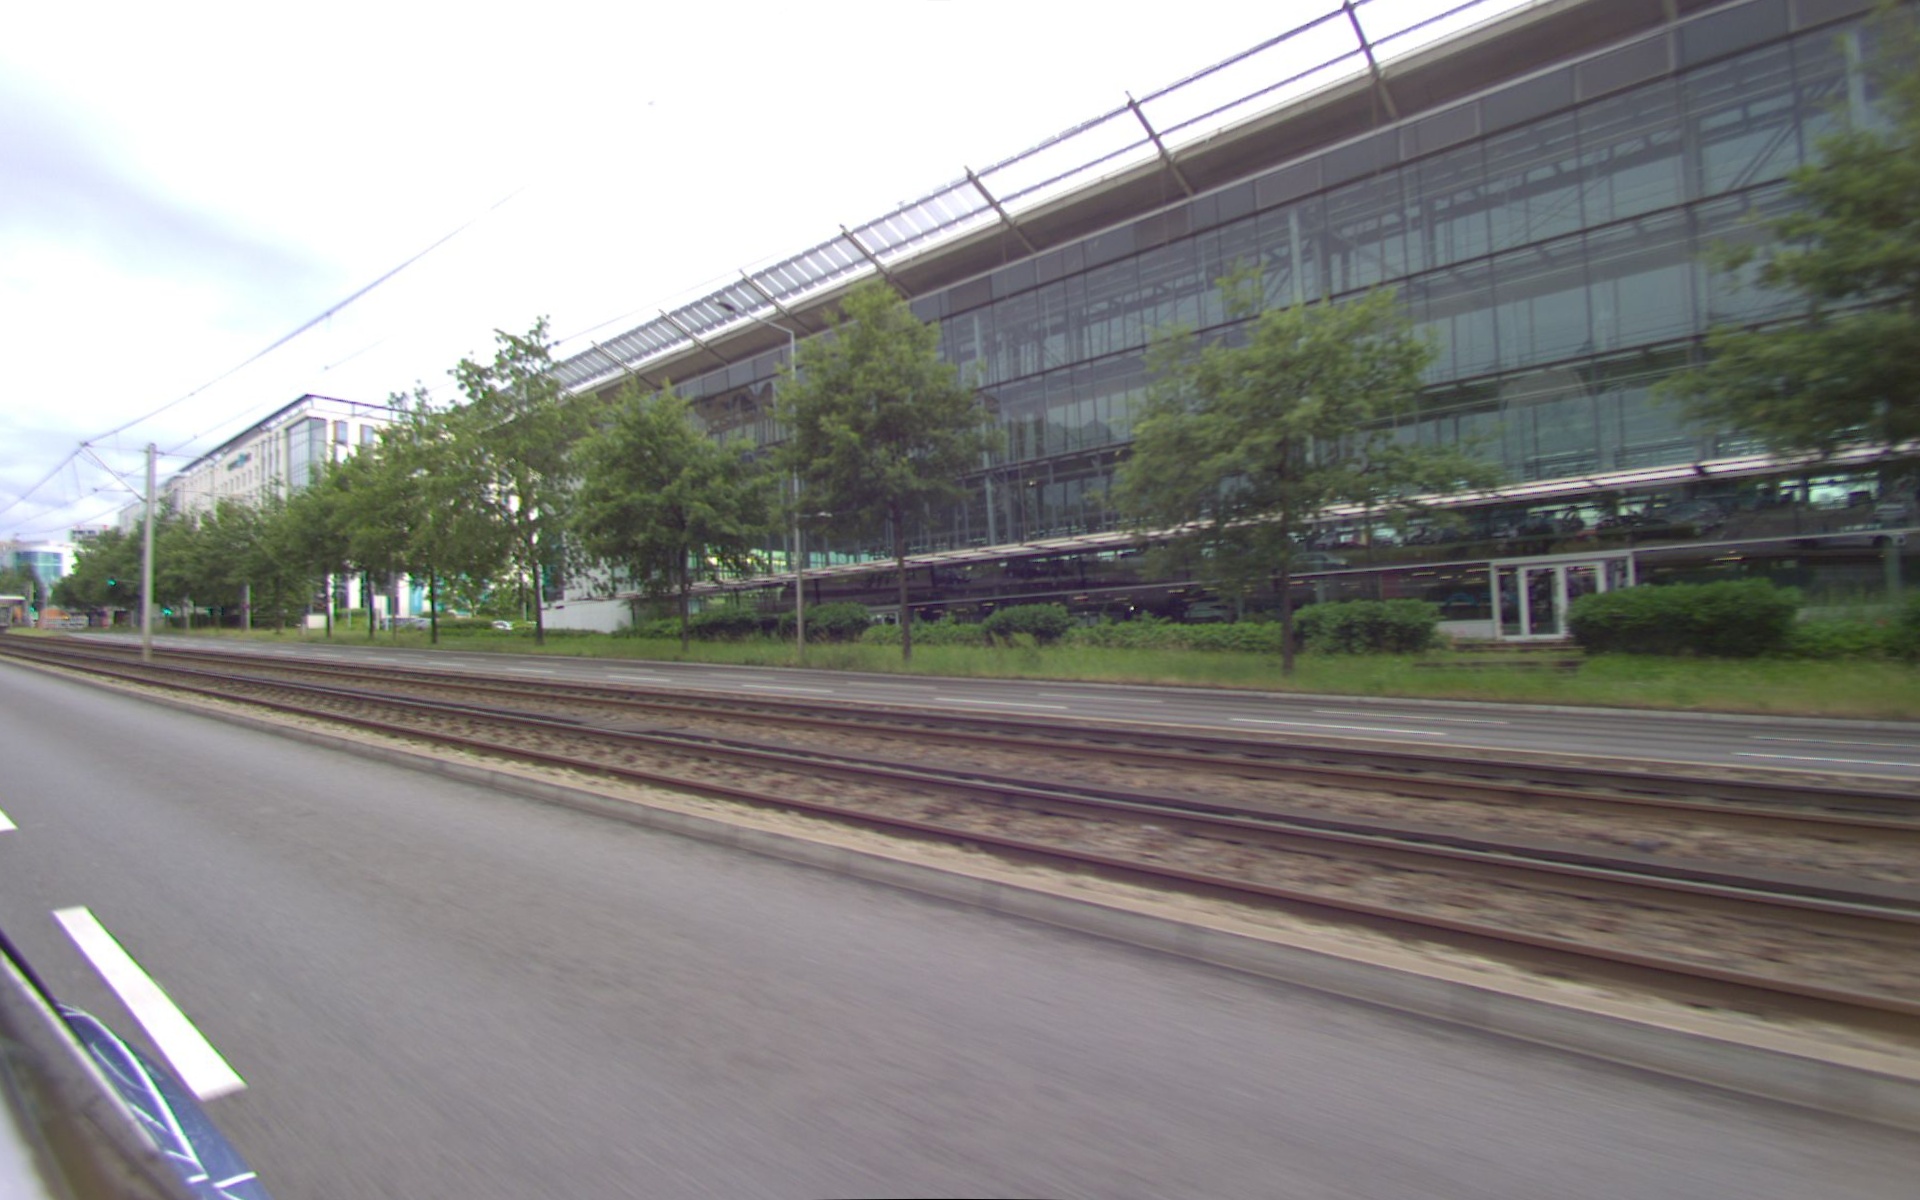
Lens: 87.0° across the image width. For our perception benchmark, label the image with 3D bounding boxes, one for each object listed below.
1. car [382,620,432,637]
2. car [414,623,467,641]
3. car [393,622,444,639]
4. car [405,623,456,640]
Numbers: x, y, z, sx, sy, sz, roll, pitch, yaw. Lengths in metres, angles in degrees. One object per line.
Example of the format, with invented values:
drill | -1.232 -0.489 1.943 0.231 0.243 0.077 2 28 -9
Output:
car | -52.177 2.710 95.522 3.931 1.401 1.809 -1 1 -22
car | -45.715 2.809 89.140 3.931 1.401 1.809 -1 1 -22
car | -49.897 2.768 93.365 3.931 1.401 1.770 -1 1 -22
car | -47.522 2.823 90.917 3.931 1.401 1.809 -1 1 -22
